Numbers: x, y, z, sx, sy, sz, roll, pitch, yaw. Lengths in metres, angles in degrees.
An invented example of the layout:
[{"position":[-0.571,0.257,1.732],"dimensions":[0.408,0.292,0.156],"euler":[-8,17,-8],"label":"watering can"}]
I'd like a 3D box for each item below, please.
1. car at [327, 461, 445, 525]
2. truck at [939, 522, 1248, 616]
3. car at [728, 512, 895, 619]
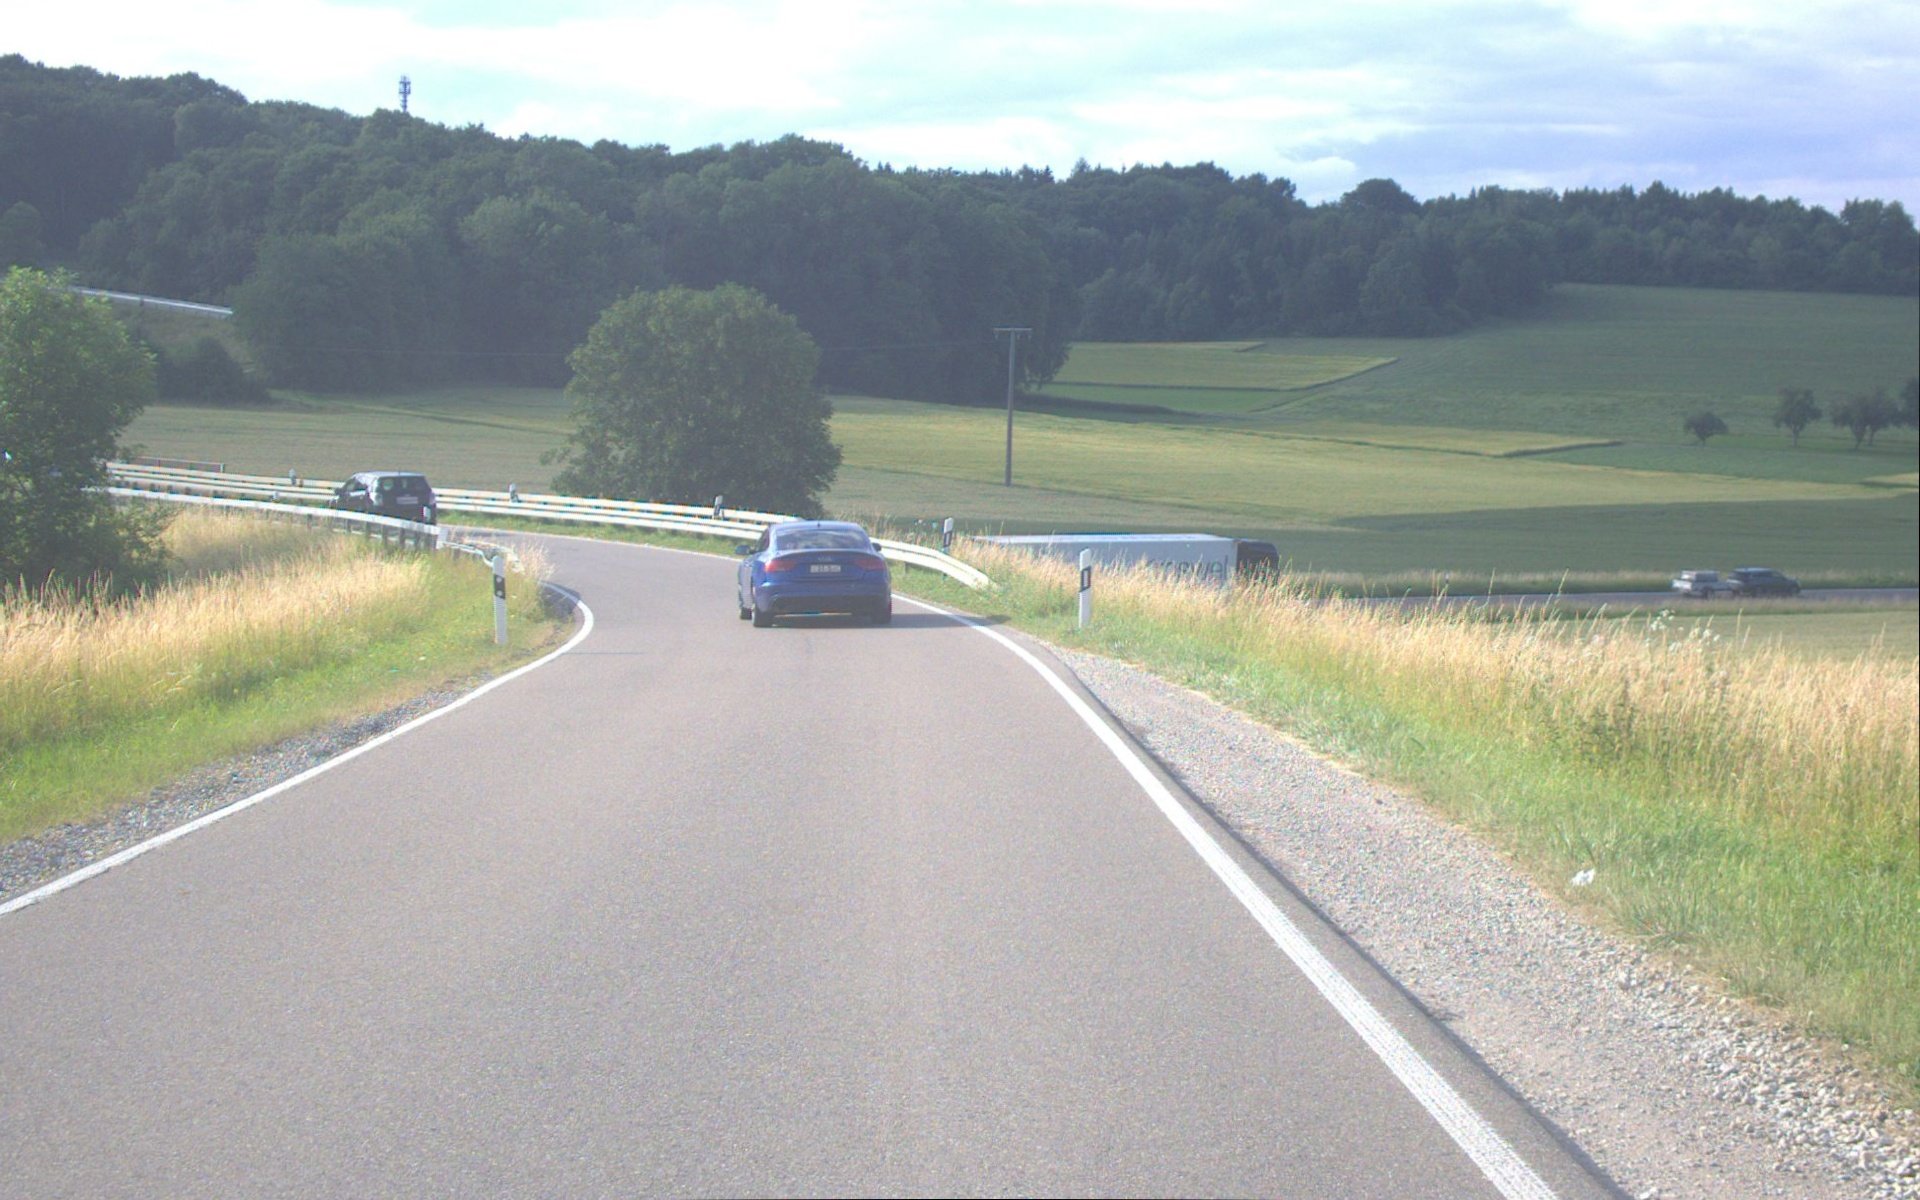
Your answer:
[{"position":[-14.674,-2.749,87.758],"dimensions":[1.861,1.563,4.001],"euler":[-1,3,-27],"label":"car"},{"position":[6.122,-1.434,154.508],"dimensions":[14.379,3.983,4.079],"euler":[-1,1,-36],"label":"truck"},{"position":[-2.050,-0.501,46.381],"dimensions":[1.818,1.334,4.351],"euler":[-1,2,-8],"label":"car"}]
